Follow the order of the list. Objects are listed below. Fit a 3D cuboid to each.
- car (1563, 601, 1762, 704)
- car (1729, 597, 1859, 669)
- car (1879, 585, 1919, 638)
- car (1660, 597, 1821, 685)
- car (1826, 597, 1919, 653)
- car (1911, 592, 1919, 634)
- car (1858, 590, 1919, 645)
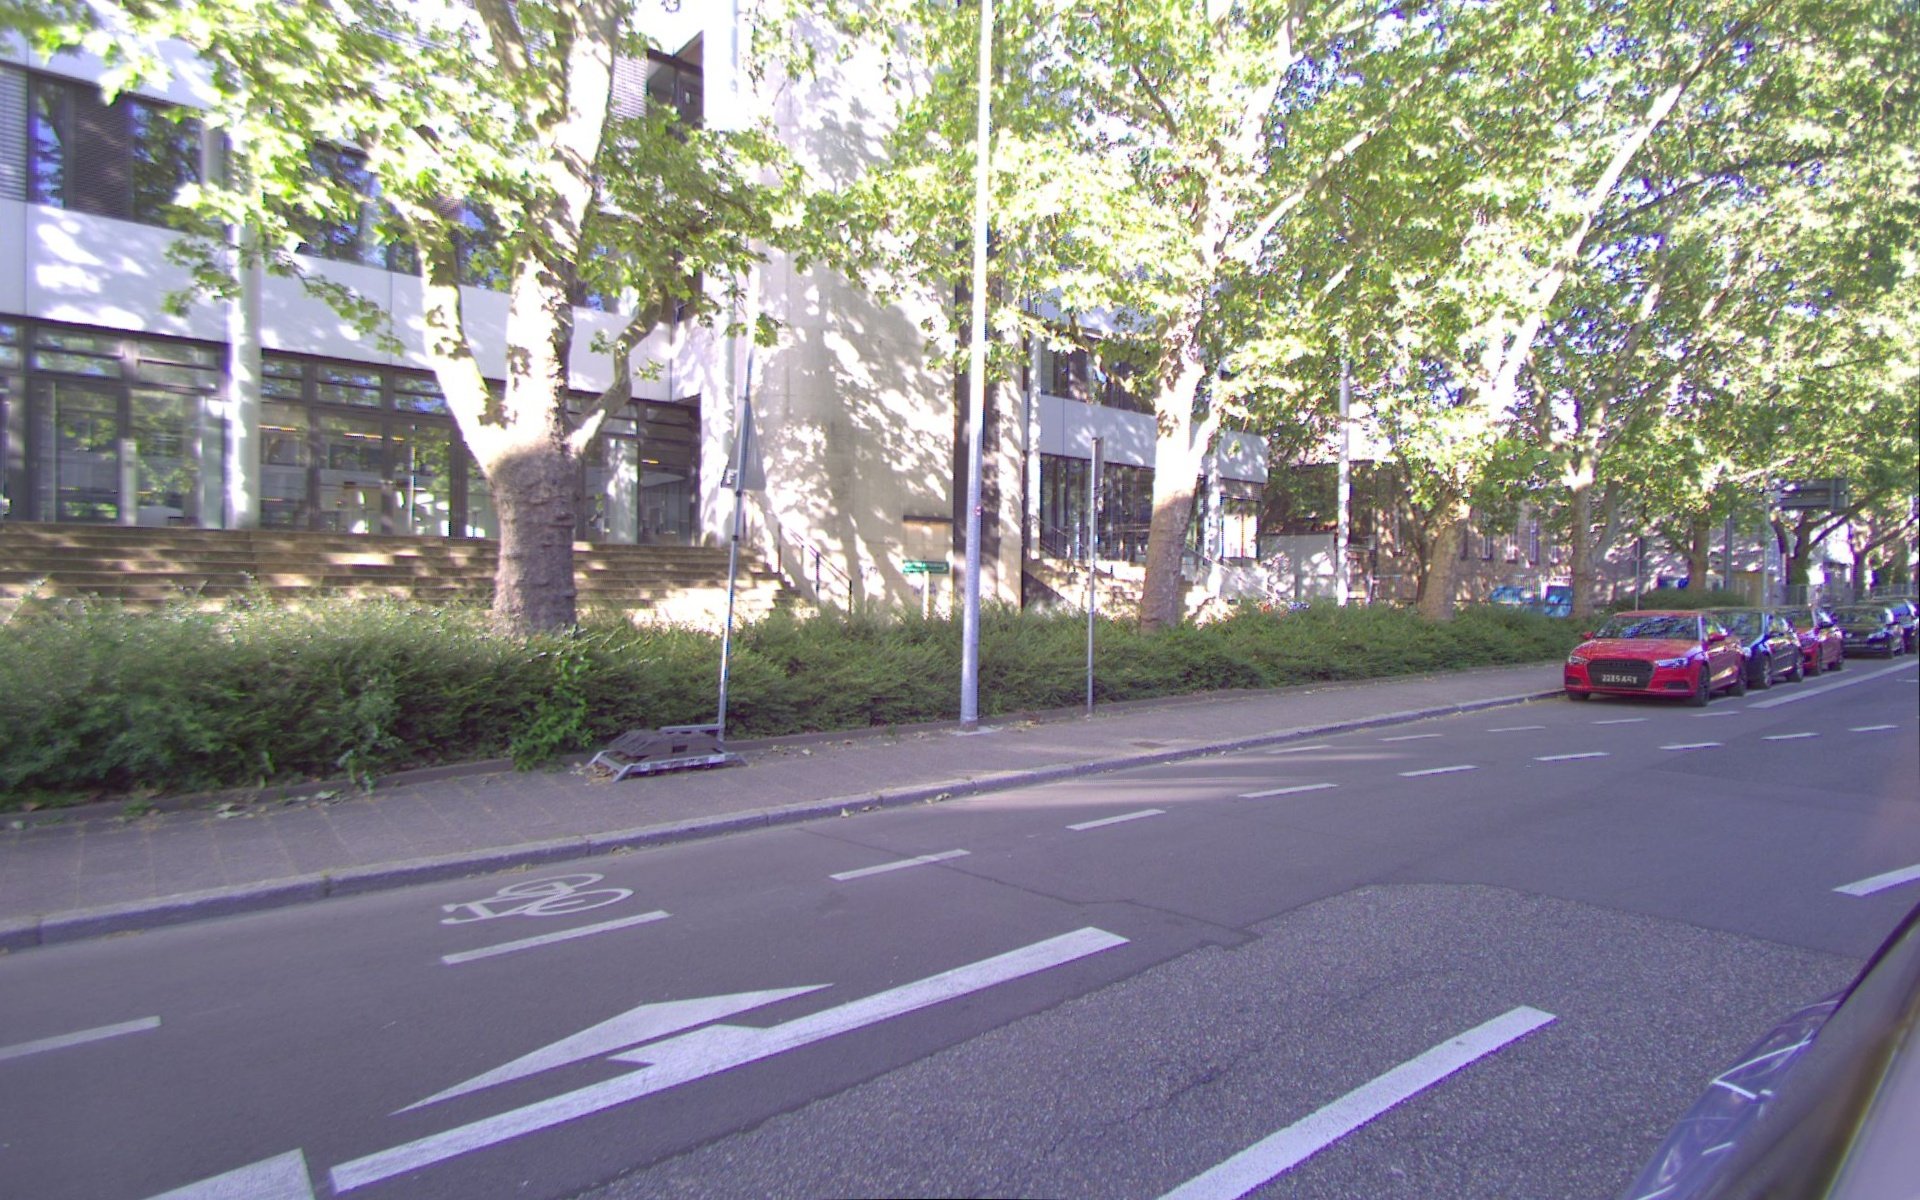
[{"bbox_3d":[11.260,0.750,16.126,3.962,1.439,1.722,0,-2,-42],"label":"car"},{"bbox_3d":[18.626,0.669,22.548,3.715,1.452,1.664,0,1,-41],"label":"car"},{"bbox_3d":[33.983,0.381,35.718,4.354,1.790,1.818,0,1,-41],"label":"car"},{"bbox_3d":[14.825,0.699,19.154,3.930,1.485,1.684,0,0,-41],"label":"car"},{"bbox_3d":[26.028,0.647,28.709,3.930,1.469,1.684,0,1,-41],"label":"car"},{"bbox_3d":[38.720,0.501,39.735,3.801,1.581,1.684,0,1,-41],"label":"car"},{"bbox_3d":[29.529,0.515,31.663,3.770,1.640,1.684,0,1,-41],"label":"car"}]
